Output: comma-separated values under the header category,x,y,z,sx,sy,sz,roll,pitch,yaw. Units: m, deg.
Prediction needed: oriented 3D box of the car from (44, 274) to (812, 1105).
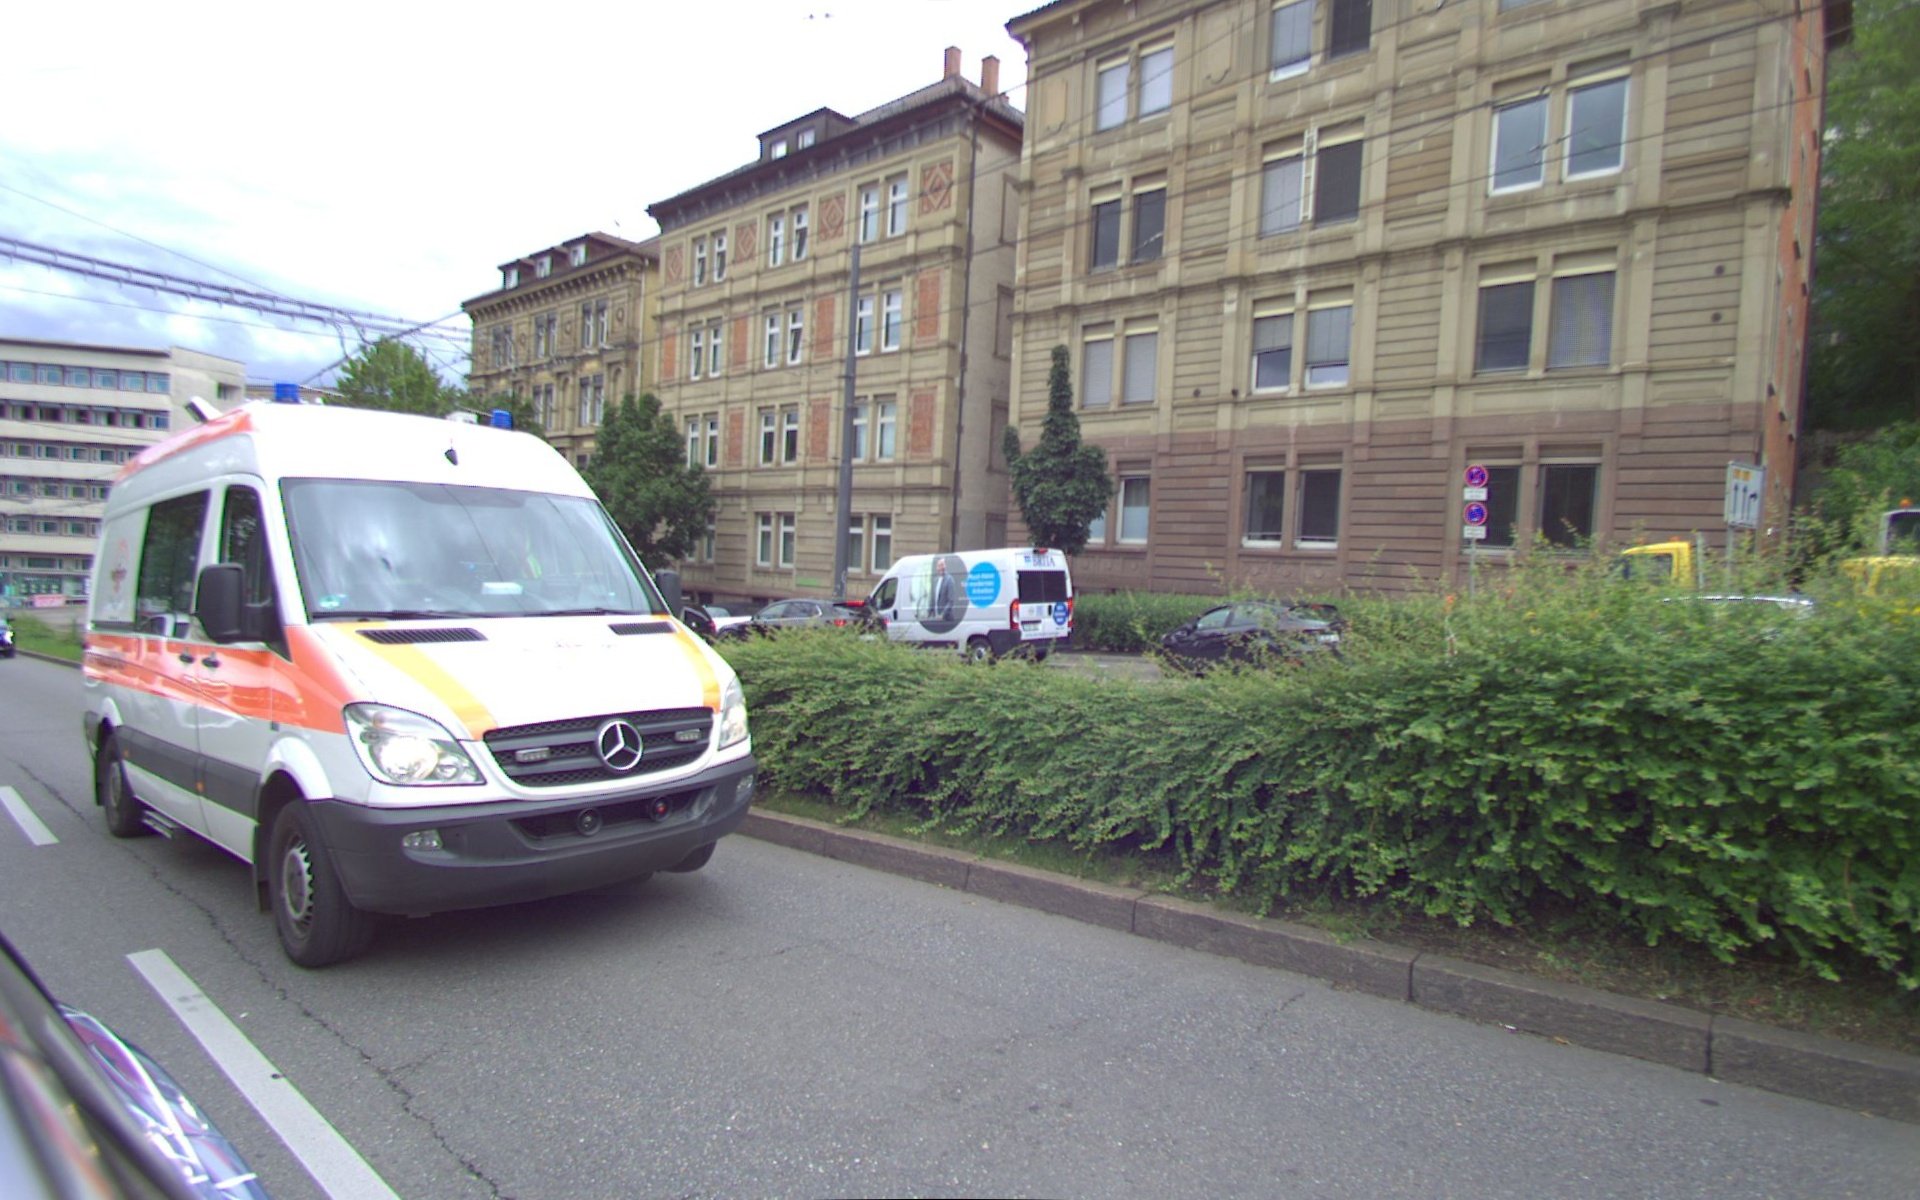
category,x,y,z,sx,sy,sz,roll,pitch,yaw
car,-3.581,0.314,5.990,5.850,2.720,2.013,-1,-1,40

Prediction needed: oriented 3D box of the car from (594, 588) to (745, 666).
category,x,y,z,sx,sy,sz,roll,pitch,yaw
car,-7.230,0.642,24.993,4.000,1.763,1.816,-1,-1,43

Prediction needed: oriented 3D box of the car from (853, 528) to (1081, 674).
category,x,y,z,sx,sy,sz,roll,pitch,yaw
car,0.074,0.047,22.133,4.784,2.844,2.185,-1,-1,43

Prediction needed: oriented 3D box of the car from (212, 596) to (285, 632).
category,x,y,z,sx,sy,sz,roll,pitch,yaw
car,-33.508,0.663,47.622,3.999,1.596,1.972,0,-1,42

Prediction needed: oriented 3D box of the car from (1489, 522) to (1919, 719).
category,x,y,z,sx,sy,sz,roll,pitch,yaw
car,11.537,0.256,14.482,6.744,2.454,2.417,0,0,38

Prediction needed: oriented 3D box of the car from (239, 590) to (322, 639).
category,x,y,z,sx,sy,sz,roll,pitch,yaw
car,-29.789,0.637,44.302,4.749,2.029,2.118,0,-1,45

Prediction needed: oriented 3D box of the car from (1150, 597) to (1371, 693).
category,x,y,z,sx,sy,sz,roll,pitch,yaw
car,5.052,0.711,17.463,1.621,1.465,3.576,0,-1,-27

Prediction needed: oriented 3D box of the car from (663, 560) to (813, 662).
category,x,y,z,sx,sy,sz,roll,pitch,yaw
car,-5.919,0.295,26.724,4.000,2.494,1.971,-1,-1,43

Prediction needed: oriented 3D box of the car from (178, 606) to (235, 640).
category,x,y,z,sx,sy,sz,roll,pitch,yaw
car,-38.581,1.154,51.808,3.844,1.641,1.659,0,-1,43

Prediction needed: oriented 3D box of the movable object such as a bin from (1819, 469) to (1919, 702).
category,x,y,z,sx,sy,sz,roll,pitch,yaw
movable object such as a bin,17.605,-0.223,15.349,6.524,3.575,2.727,-1,-1,31

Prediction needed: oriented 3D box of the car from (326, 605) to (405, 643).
category,x,y,z,sx,sy,sz,roll,pitch,yaw
car,-26.087,1.025,44.351,3.997,1.581,1.736,0,-1,40

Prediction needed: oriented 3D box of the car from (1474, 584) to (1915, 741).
category,x,y,z,sx,sy,sz,roll,pitch,yaw
car,8.460,0.652,12.049,3.990,1.579,1.688,0,-1,35

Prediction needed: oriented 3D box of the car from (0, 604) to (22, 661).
category,x,y,z,sx,sy,sz,roll,pitch,yaw
car,-28.721,0.945,29.364,4.181,1.584,1.905,-1,1,43

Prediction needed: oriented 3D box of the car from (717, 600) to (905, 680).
category,x,y,z,sx,sy,sz,roll,pitch,yaw
car,-3.194,0.783,21.225,3.950,1.531,1.846,-1,-1,43
